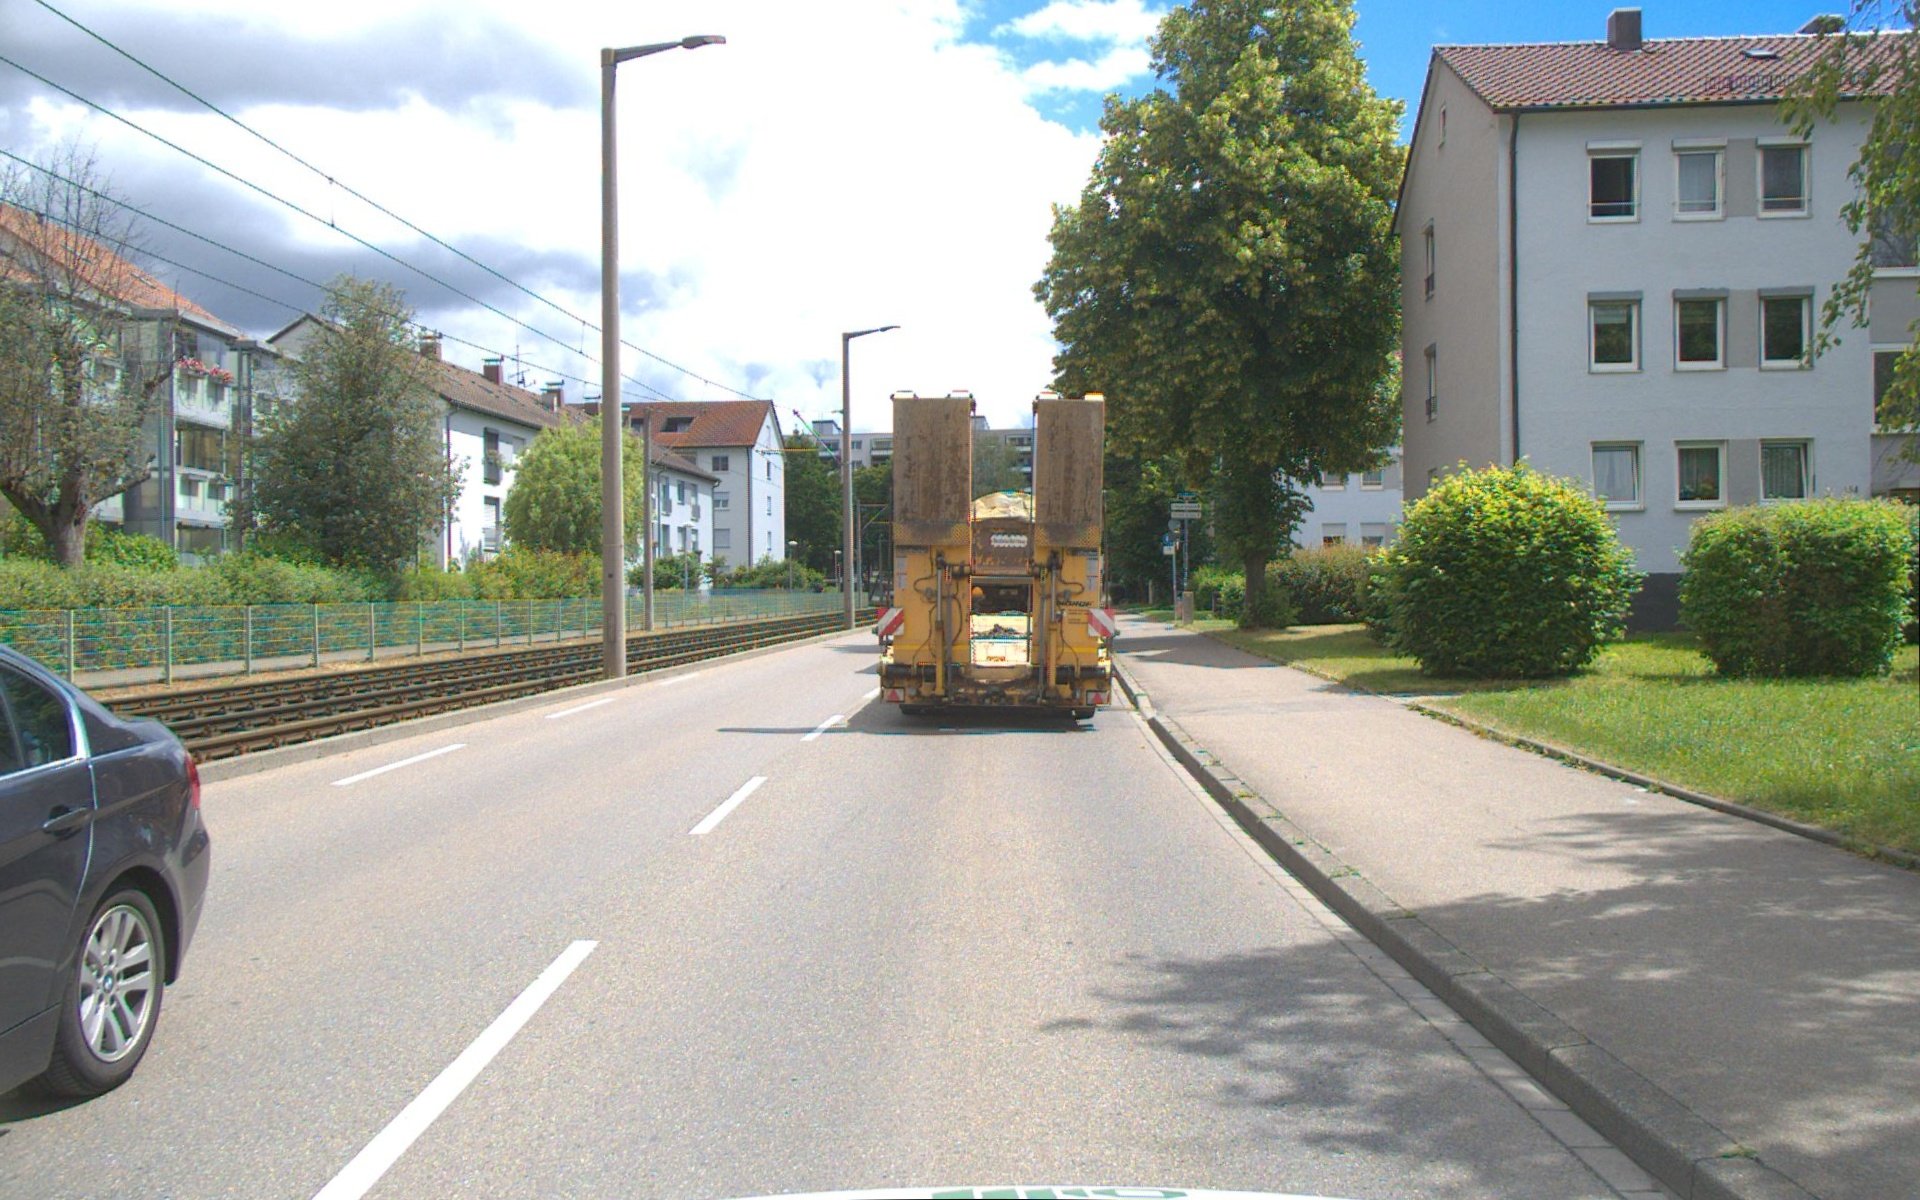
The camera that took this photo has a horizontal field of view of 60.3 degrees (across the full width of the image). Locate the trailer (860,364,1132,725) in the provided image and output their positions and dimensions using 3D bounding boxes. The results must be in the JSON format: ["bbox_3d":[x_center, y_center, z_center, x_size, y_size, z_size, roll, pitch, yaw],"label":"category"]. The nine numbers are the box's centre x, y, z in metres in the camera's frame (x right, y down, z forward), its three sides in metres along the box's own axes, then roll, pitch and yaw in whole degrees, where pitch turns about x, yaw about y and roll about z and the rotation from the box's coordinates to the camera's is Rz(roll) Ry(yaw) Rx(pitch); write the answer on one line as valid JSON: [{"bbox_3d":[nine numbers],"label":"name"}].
[{"bbox_3d":[0.344,-0.600,23.362,2.769,3.709,12.353,1,0,0],"label":"trailer"}]

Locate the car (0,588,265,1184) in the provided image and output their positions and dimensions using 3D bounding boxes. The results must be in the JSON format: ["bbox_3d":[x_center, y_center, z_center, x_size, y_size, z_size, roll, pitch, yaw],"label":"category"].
[{"bbox_3d":[-3.156,0.708,3.519,1.595,1.457,4.167,1,0,0],"label":"car"}]

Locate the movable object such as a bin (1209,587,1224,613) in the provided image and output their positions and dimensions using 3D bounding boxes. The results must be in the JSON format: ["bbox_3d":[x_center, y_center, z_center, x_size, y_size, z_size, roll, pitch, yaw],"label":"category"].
[{"bbox_3d":[9.675,0.001,62.446,0.485,0.971,0.580,-2,0,3],"label":"movable object such as a bin"}]
